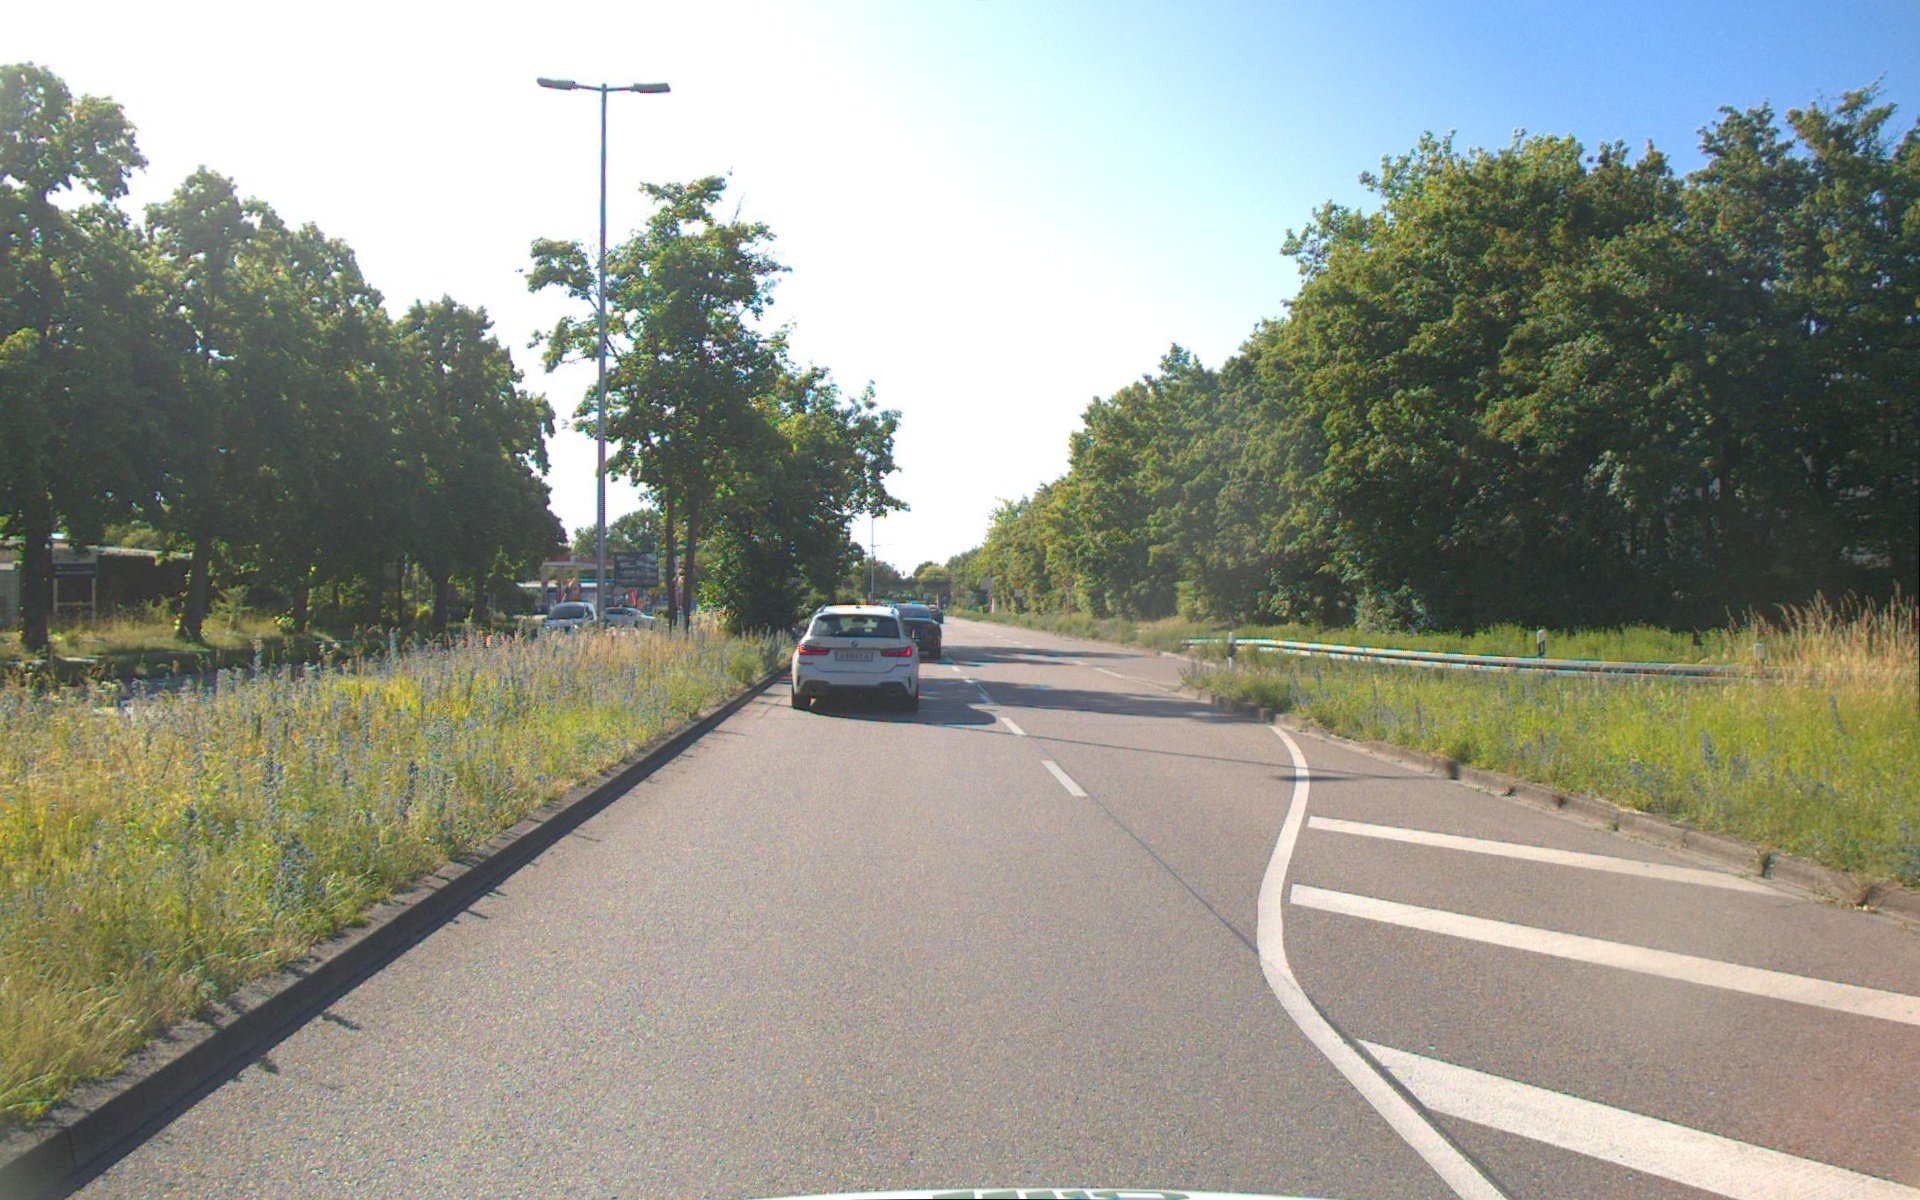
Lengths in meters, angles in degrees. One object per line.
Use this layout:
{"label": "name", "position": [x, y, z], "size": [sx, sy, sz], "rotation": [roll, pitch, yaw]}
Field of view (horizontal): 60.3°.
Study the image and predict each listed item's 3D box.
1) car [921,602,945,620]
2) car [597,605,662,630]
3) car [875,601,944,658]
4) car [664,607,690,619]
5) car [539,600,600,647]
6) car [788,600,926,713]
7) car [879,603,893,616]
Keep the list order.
{"label": "car", "position": [-2.269, 0.908, 137.173], "size": [1.824, 1.525, 4.334], "rotation": [0, 0, -3]}
{"label": "car", "position": [-22.831, 1.217, 114.214], "size": [4.025, 1.691, 1.893], "rotation": [-1, 0, 20]}
{"label": "car", "position": [-1.448, 0.796, 46.443], "size": [1.824, 1.480, 4.545], "rotation": [-1, 0, -3]}
{"label": "car", "position": [-42.652, 1.965, 249.282], "size": [4.017, 1.814, 1.914], "rotation": [0, -1, 44]}
{"label": "car", "position": [-15.378, 0.903, 65.328], "size": [1.672, 1.777, 4.162], "rotation": [0, 0, -4]}
{"label": "car", "position": [-1.466, 0.761, 24.511], "size": [1.824, 1.480, 4.545], "rotation": [1, 0, -2]}
{"label": "car", "position": [-9.437, 1.236, 210.874], "size": [1.824, 1.593, 4.545], "rotation": [0, 0, -3]}
